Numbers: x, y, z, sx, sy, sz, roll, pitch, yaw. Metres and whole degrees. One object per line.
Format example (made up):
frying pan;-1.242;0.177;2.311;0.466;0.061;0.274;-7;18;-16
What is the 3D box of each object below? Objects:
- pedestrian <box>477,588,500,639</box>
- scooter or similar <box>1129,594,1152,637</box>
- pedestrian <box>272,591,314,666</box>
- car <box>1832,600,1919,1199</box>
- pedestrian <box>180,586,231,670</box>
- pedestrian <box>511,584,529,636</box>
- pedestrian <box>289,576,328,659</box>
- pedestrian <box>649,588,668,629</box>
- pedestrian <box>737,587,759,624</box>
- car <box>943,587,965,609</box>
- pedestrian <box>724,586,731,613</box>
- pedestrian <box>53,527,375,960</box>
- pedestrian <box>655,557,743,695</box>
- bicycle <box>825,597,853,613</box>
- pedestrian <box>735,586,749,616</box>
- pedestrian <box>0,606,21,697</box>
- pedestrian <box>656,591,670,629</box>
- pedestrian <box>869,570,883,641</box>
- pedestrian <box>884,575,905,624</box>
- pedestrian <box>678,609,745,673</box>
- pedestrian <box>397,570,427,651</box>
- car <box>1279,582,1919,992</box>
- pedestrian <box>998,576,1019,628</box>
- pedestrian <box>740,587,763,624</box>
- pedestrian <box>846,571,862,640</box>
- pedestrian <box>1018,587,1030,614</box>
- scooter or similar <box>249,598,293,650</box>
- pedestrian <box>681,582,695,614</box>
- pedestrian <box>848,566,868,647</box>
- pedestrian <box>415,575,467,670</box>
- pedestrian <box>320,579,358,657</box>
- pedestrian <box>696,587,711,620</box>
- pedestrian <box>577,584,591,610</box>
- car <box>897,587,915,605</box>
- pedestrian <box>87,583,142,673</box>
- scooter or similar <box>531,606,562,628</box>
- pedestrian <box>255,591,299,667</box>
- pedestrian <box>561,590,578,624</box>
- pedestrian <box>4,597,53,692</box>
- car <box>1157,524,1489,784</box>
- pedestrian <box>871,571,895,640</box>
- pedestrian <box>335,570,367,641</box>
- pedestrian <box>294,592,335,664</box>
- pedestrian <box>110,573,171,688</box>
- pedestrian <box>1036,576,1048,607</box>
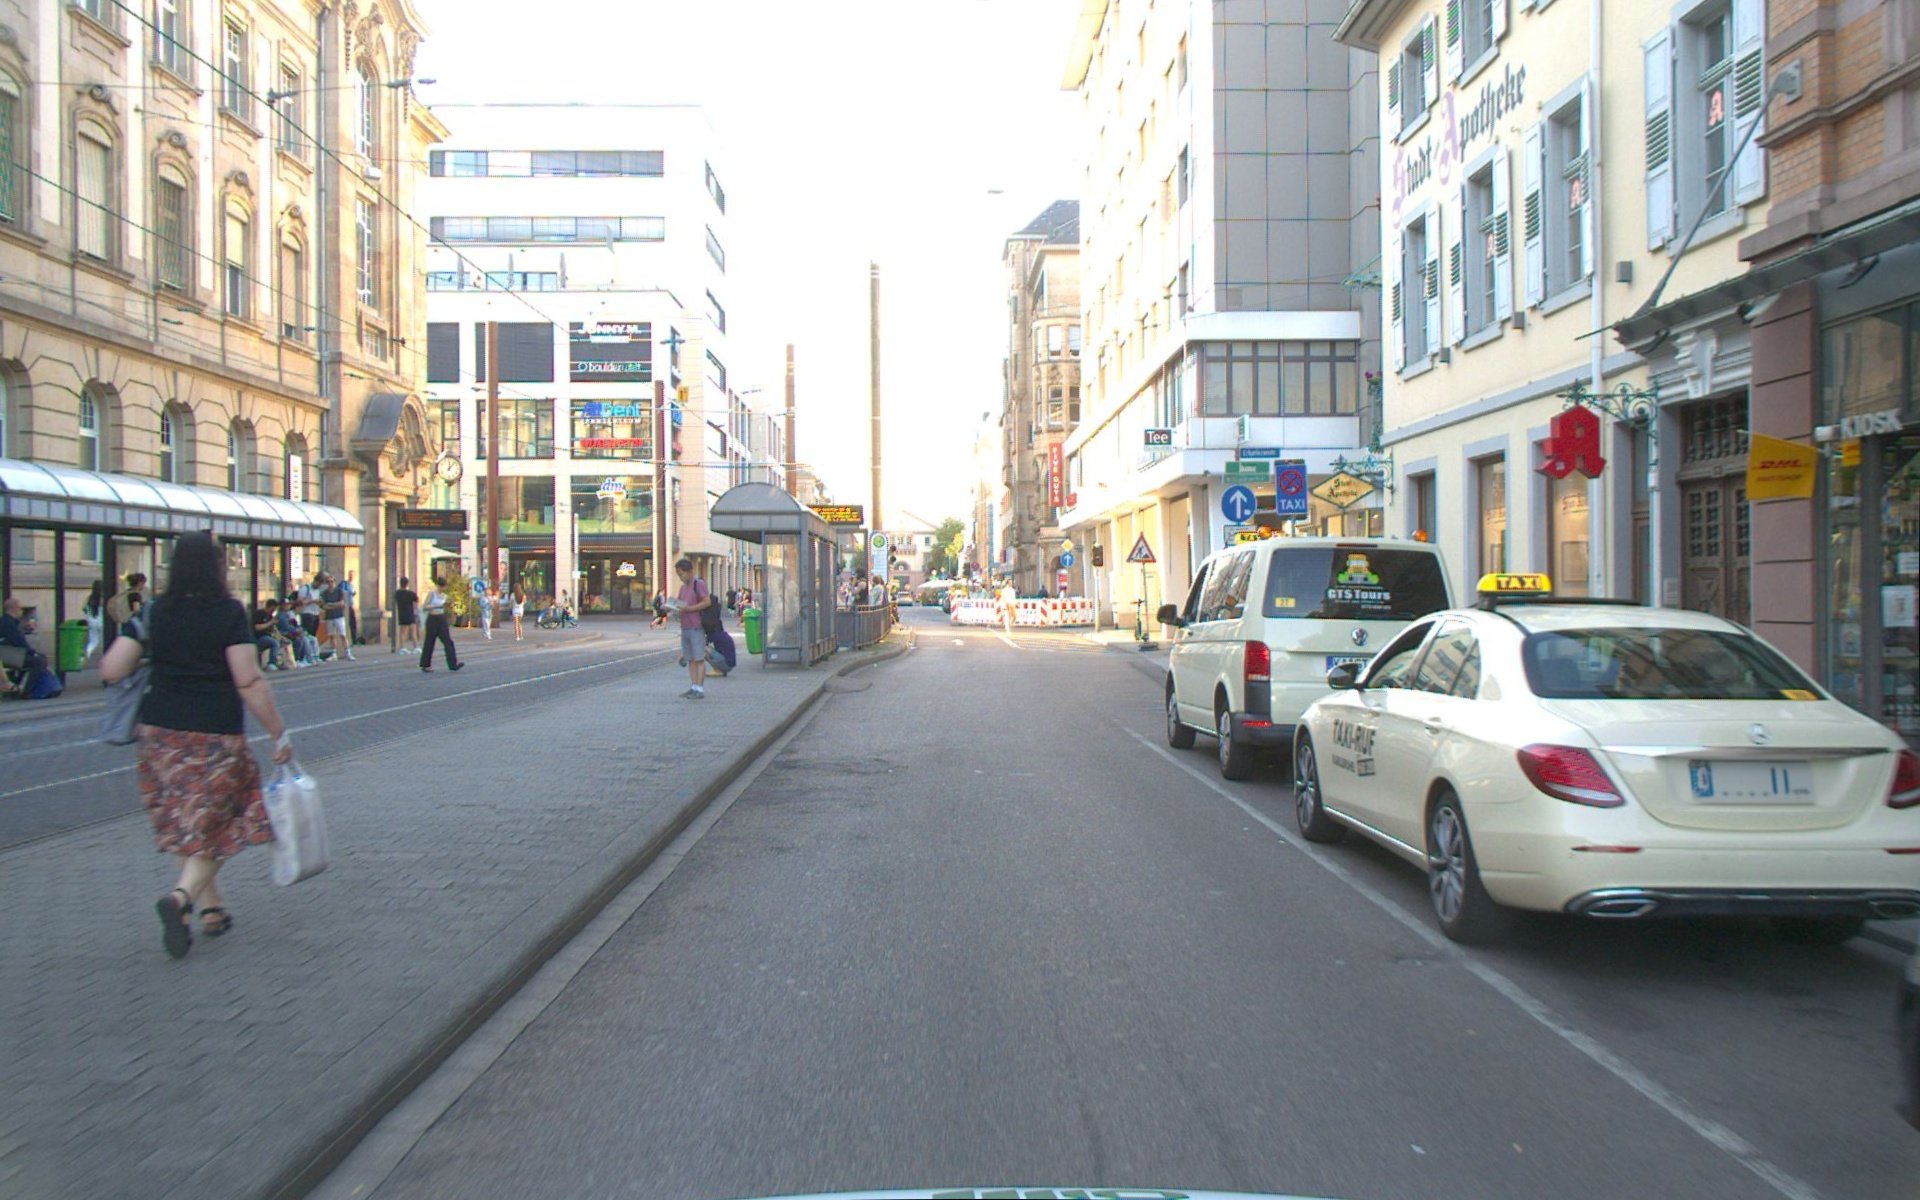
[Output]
pedestrian;-14.441;0.403;50.645;0.489;1.552;0.520;0;0;8
scooter or similar;5.289;0.451;48.562;0.495;1.256;1.179;0;0;-2
pedestrian;-12.233;0.519;30.343;0.507;1.350;0.638;0;-1;2
car;3.305;0.763;2.148;1.691;1.503;4.819;1;0;-2
pedestrian;-12.295;0.447;26.962;0.507;1.350;0.638;0;-1;2
pedestrian;-13.200;0.292;49.585;0.517;1.552;0.500;0;0;-15
pedestrian;-13.182;0.350;33.483;0.507;1.674;0.638;0;-1;2
pedestrian;-12.728;0.343;69.902;0.729;1.730;0.609;0;0;-5
pedestrian;-9.495;0.235;74.043;0.760;1.642;0.661;-1;0;-27
car;-0.490;-0.170;130.708;1.645;1.641;4.026;-2;0;-2
pedestrian;-13.730;-0.032;97.766;0.382;1.541;0.505;0;0;-3
pedestrian;-2.800;0.503;6.305;0.829;1.527;0.901;0;0;-2
pedestrian;-3.218;0.310;20.410;0.675;1.666;0.857;0;0;39
bicycle;-8.558;0.369;117.289;1.947;1.141;0.552;1;0;-31
pedestrian;-12.915;0.061;97.949;0.766;1.782;0.599;1;0;-5
pedestrian;-12.035;0.638;20.647;0.357;1.122;0.430;1;0;4
pedestrian;-12.671;0.424;70.473;0.559;1.621;0.447;0;0;-9
pedestrian;-2.175;0.147;42.812;0.335;1.827;0.544;1;0;-3
pedestrian;-2.311;-0.009;58.471;0.686;1.723;0.540;1;0;-9
pedestrian;-3.818;0.621;25.446;0.781;0.955;0.693;0;0;21
pedestrian;-12.381;0.237;37.358;0.548;1.807;0.468;0;0;-6
car;3.062;0.672;8.603;1.769;1.509;4.777;0;1;-2
pedestrian;1.716;0.070;58.717;0.685;1.847;0.852;1;0;-3
pedestrian;-9.216;0.230;73.193;0.811;1.642;0.687;-1;0;-27
pedestrian;-2.563;0.135;39.981;0.378;1.670;0.549;1;0;-3
pedestrian;4.011;0.025;103.534;0.697;1.639;0.821;1;0;-4
scooter or similar;-16.311;0.554;39.164;0.477;1.202;1.293;1;0;1
pedestrian;-16.137;-0.100;98.048;0.560;1.887;0.817;1;0;10
pedestrian;-2.275;0.145;36.977;0.404;1.798;0.594;1;0;-3
pedestrian;-9.484;0.414;30.251;0.660;1.721;0.638;0;-1;15
pedestrian;-12.858;0.374;34.258;0.507;1.597;0.638;0;-1;2
pedestrian;-13.329;0.201;86.077;0.635;1.703;0.530;0;0;7
pedestrian;-22.856;-0.176;100.462;0.560;1.553;0.791;1;0;10
car;-5.994;-0.427;184.093;1.953;1.937;3.998;1;0;-2
pedestrian;-15.602;0.510;30.529;0.685;1.642;0.630;1;0;-3
scooter or similar;-17.460;0.726;69.876;1.071;0.920;0.890;-1;0;0
pedestrian;-12.215;0.518;29.575;0.507;1.350;0.638;0;-1;2
pedestrian;-16.633;0.310;70.503;0.626;1.445;0.418;0;0;0
pedestrian;-12.096;0.569;21.491;0.357;1.221;0.430;1;0;4
car;3.092;0.425;15.139;1.839;1.957;4.698;2;0;-2
pedestrian;-2.030;0.154;43.598;0.528;1.798;0.594;1;0;4
pedestrian;-15.693;0.143;42.641;0.608;1.807;0.705;0;0;-5
pedestrian;-12.180;0.522;31.215;0.507;1.350;0.638;0;-1;2
pedestrian;-12.162;0.444;24.566;0.507;1.679;0.638;0;-1;21
pedestrian;4.613;-0.499;93.103;0.612;1.719;0.671;-1;0;-4
